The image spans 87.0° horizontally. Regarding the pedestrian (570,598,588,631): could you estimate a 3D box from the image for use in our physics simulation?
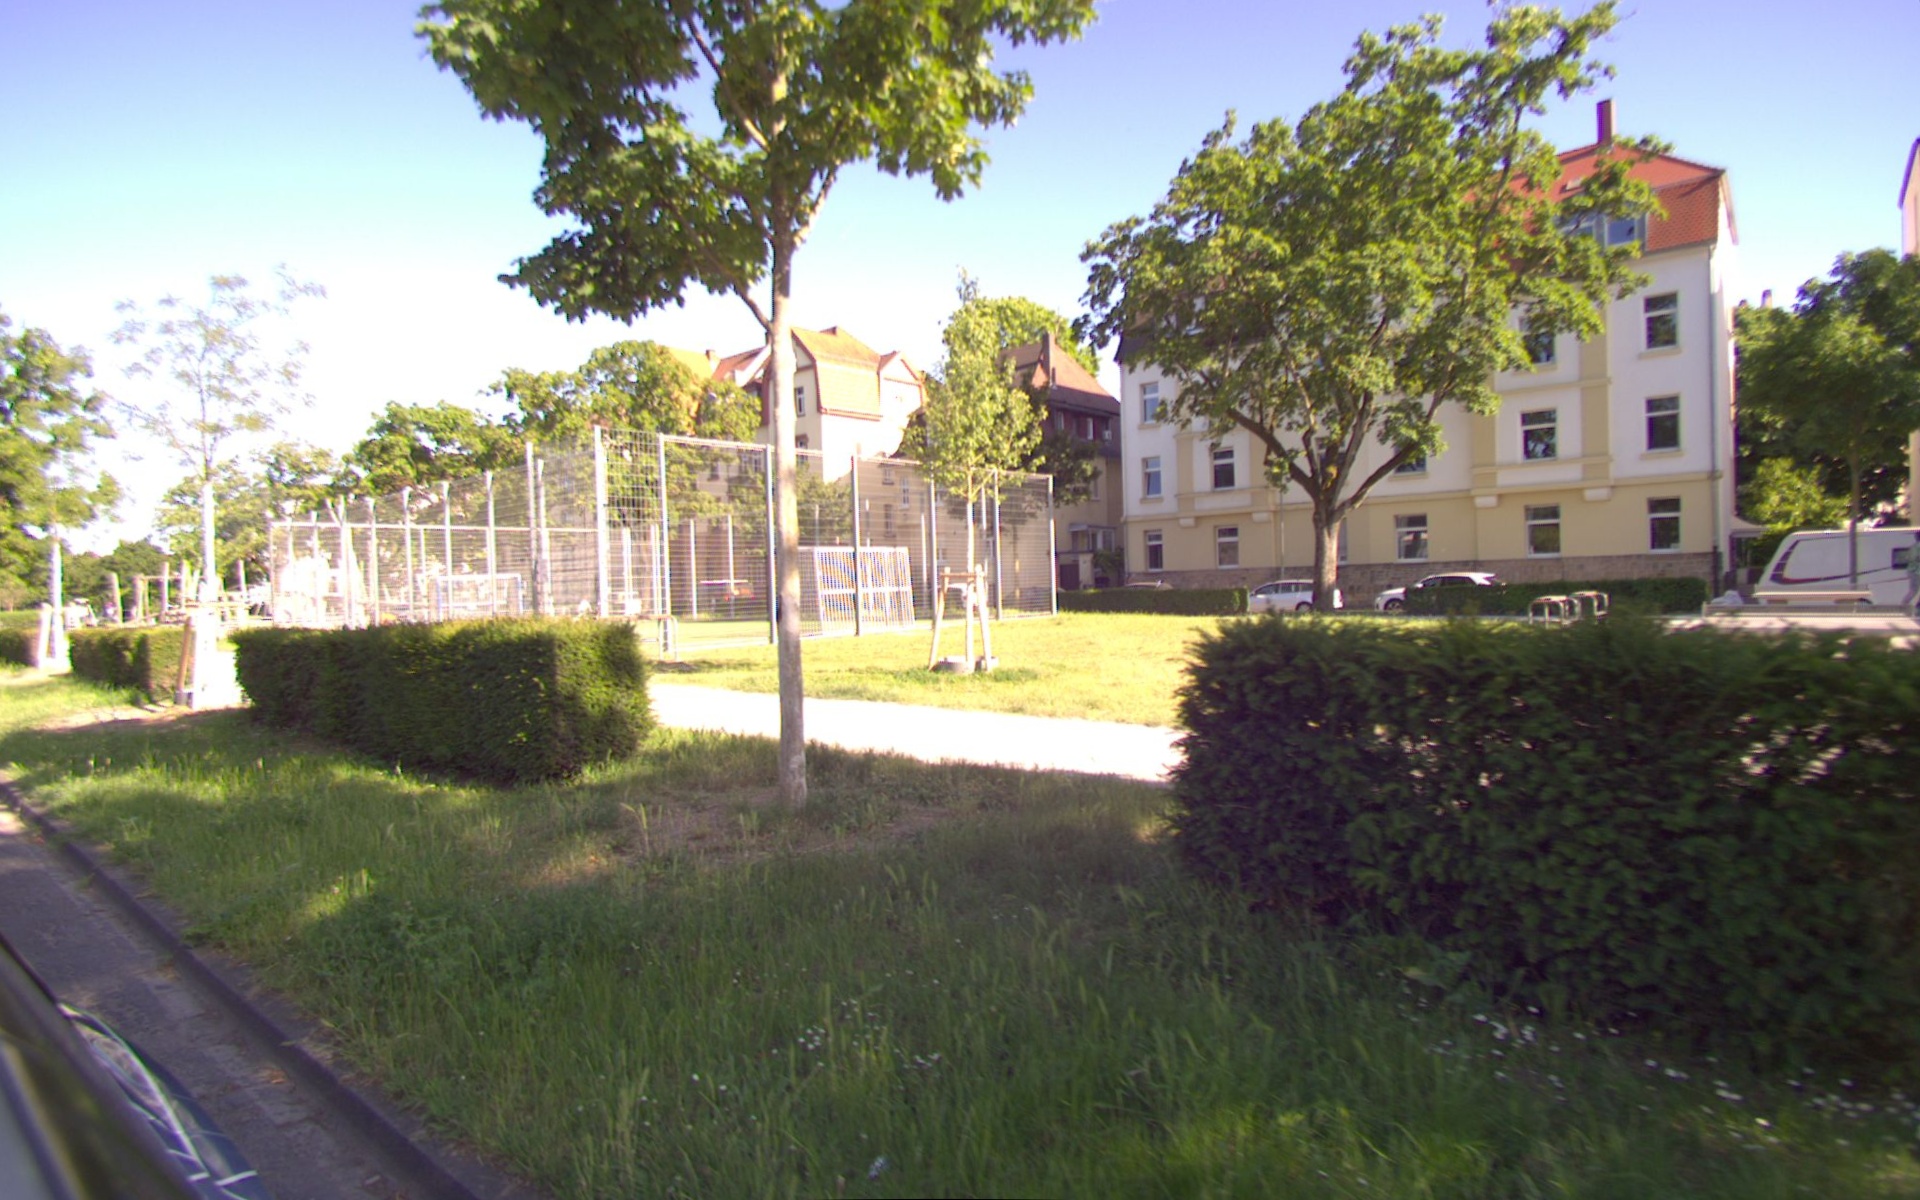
[{"bbox_3d":[-15.659,0.589,41.621,0.639,1.328,0.652,-2,1,-20],"label":"pedestrian"}]

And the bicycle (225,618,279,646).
[{"bbox_3d":[-30.037,1.350,42.952,0.499,1.116,1.777,-2,1,39],"label":"bicycle"}]

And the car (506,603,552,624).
[{"bbox_3d":[-34.523,1.112,80.969,3.998,1.566,1.776,-1,1,41],"label":"car"}]

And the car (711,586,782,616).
[{"bbox_3d":[-11.846,0.073,55.959,3.998,1.521,1.776,-1,1,41],"label":"car"}]

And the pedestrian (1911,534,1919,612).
[{"bbox_3d":[20.781,-0.582,21.600,0.650,1.674,0.641,-1,0,41],"label":"pedestrian"}]

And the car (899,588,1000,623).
[{"bbox_3d":[-0.559,0.300,51.410,5.180,1.664,1.862,-1,1,41],"label":"car"}]

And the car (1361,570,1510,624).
[{"bbox_3d":[17.005,-0.103,36.319,4.486,1.790,1.776,-1,1,41],"label":"car"}]

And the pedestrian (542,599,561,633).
[{"bbox_3d":[-16.620,0.637,41.215,0.639,1.328,0.652,-2,1,-20],"label":"pedestrian"}]

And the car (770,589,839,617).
[{"bbox_3d":[-9.061,0.190,58.852,3.998,1.521,1.776,-1,1,41],"label":"car"}]

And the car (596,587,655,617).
[{"bbox_3d":[-23.914,0.187,72.230,4.833,1.997,1.776,-1,1,41],"label":"car"}]

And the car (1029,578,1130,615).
[{"bbox_3d":[5.340,-0.159,45.398,4.229,1.521,1.776,-1,1,41],"label":"car"}]

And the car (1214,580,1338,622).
[{"bbox_3d":[12.531,0.051,40.279,4.345,1.521,1.776,-1,1,41],"label":"car"}]

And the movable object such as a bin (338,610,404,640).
[{"bbox_3d":[-26.234,1.083,45.084,1.054,1.251,2.309,-2,0,37],"label":"movable object such as a bin"}]

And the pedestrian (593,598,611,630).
[{"bbox_3d":[-15.127,0.578,42.747,0.639,1.328,0.652,-2,1,-20],"label":"pedestrian"}]

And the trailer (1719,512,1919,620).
[{"bbox_3d":[25.627,-0.954,29.205,5.798,2.891,2.319,-1,1,40],"label":"trailer"}]
